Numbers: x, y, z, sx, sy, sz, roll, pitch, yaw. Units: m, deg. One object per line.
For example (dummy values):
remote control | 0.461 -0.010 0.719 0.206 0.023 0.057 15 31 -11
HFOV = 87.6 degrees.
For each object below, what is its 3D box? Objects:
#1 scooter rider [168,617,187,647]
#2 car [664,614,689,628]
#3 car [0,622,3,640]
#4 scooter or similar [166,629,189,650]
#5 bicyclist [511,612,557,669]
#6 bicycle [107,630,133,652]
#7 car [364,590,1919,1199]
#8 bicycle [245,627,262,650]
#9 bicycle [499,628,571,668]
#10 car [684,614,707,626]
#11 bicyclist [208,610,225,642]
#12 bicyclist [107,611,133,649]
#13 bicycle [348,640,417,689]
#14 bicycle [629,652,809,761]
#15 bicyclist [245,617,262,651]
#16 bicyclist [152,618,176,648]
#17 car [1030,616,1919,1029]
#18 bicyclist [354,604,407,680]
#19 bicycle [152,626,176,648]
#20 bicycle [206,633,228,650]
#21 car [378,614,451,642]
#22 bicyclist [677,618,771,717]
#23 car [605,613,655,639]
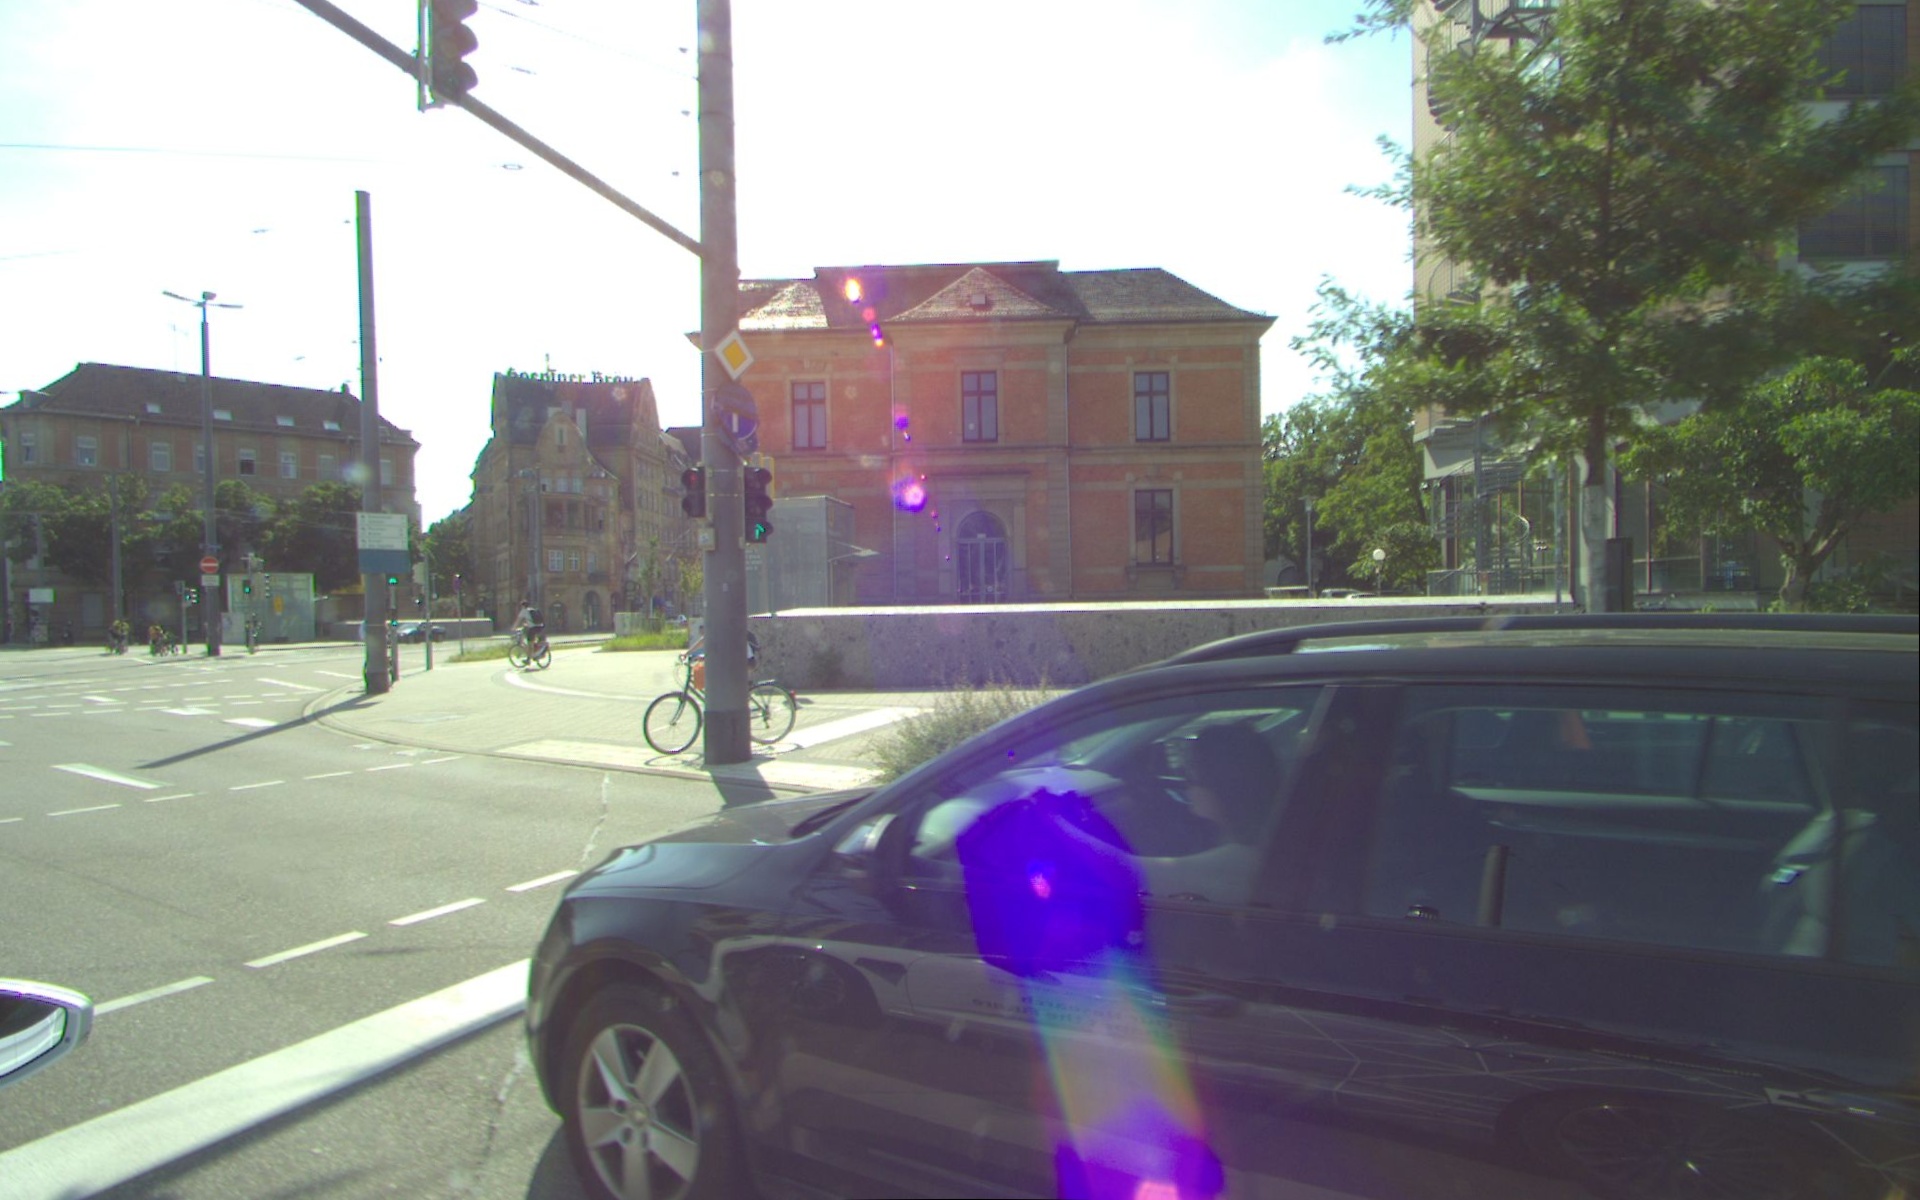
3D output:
scooter rider | -37.726 1.551 48.270 0.401 1.415 0.586 -1 -2 31
car | -30.304 2.252 107.047 1.606 1.363 3.583 -1 0 1
car | -116.690 3.754 120.519 2.094 2.041 3.961 -3 2 -43
scooter or similar | -37.702 1.901 48.250 0.978 0.988 0.586 -2 -2 32
bicyclist | -11.536 1.102 27.109 0.935 1.506 0.714 -1 -2 28
bicycle | -41.030 2.008 48.920 0.919 1.082 2.725 1 -3 -39
car | 0.738 0.757 2.352 4.709 1.453 1.628 -2 -2 31
bicycle | -34.689 1.874 49.149 0.660 1.083 2.447 1 -1 -35
bicycle | -11.506 1.301 27.091 1.990 1.028 0.714 -2 -2 28
car | -30.156 2.269 114.435 1.606 1.363 3.610 -1 0 1
bicyclist | -38.325 1.337 51.625 0.641 1.642 0.498 0 -1 37
bicyclist | -40.880 1.478 48.739 0.919 1.843 1.044 1 -2 -39
bicycle | -13.375 1.465 23.173 1.997 1.029 0.710 -1 2 40
bicycle | -2.790 1.203 11.634 1.888 1.029 0.714 -3 2 -25
bicyclist | -34.214 1.642 48.487 0.660 1.645 0.777 1 -1 -35
bicyclist | -39.853 1.639 50.135 0.919 1.470 1.242 1 -1 -39
car | 2.666 0.819 4.922 4.329 1.448 1.699 -1 0 28
bicyclist | -13.393 0.952 23.142 0.864 1.692 0.710 -1 3 40
bicycle | -39.902 1.836 50.183 0.919 1.083 2.819 1 -2 -38
bicycle | -38.273 2.128 51.558 1.567 0.877 0.498 -1 -2 37
car | -32.802 1.675 60.329 1.608 1.604 3.997 -1 0 12
bicyclist | -2.750 0.757 11.652 0.902 1.043 0.714 -3 2 -25
car | -18.129 1.417 55.130 1.639 1.330 3.452 -1 0 -1
